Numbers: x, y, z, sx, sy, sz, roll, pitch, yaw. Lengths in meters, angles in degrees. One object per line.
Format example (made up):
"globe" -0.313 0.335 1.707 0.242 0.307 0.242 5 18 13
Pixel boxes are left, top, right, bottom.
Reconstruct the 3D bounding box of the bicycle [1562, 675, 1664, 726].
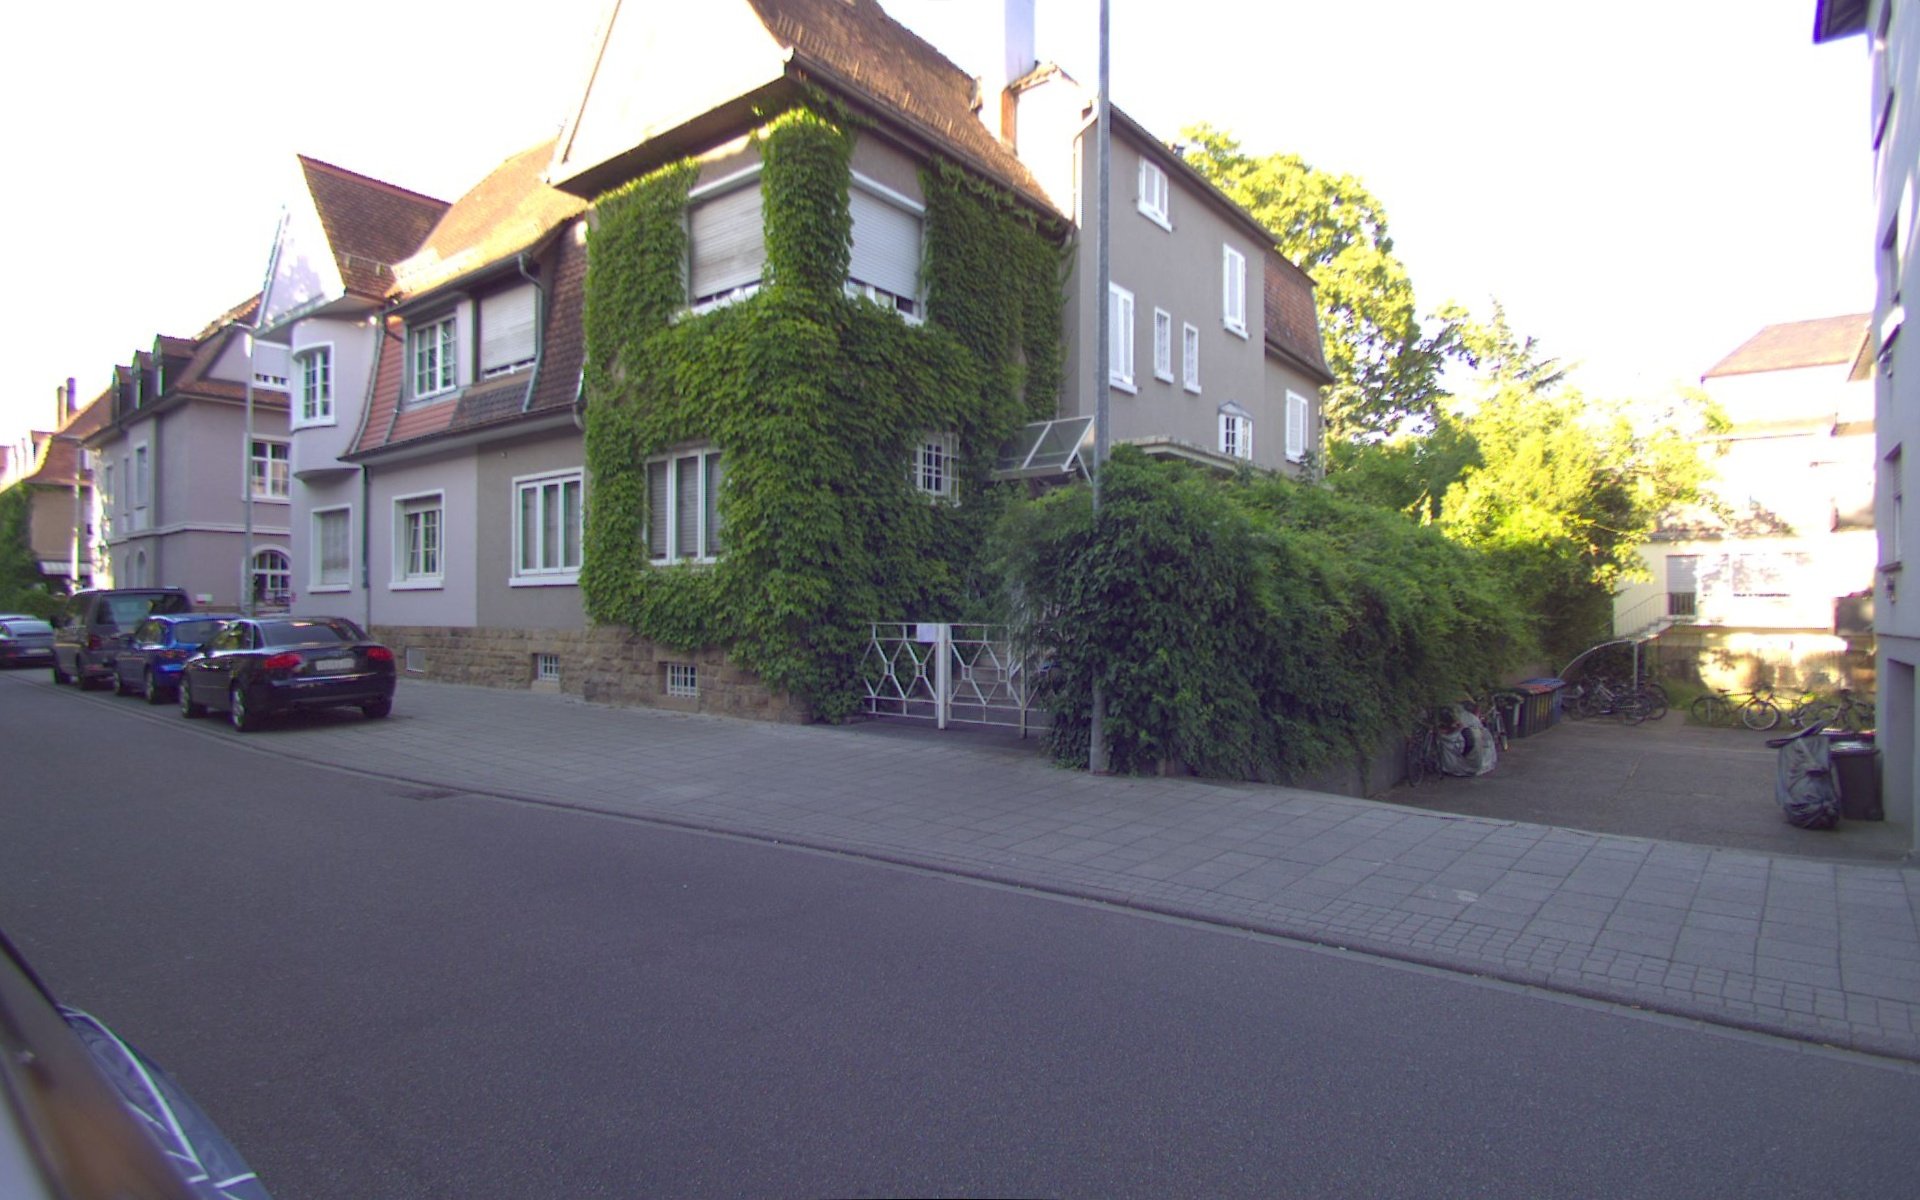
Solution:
"bicycle" 16.281 2.496 25.254 2.068 1.028 0.634 1 3 41

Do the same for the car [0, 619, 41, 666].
"car" -30.471 1.320 32.024 3.942 1.381 1.522 -1 1 40

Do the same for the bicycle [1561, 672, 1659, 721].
"bicycle" 16.845 2.487 26.266 2.068 1.028 0.565 1 3 41

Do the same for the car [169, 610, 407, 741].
"car" -9.302 0.911 13.885 4.023 1.439 1.729 0 2 42

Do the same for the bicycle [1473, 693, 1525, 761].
"bicycle" 9.964 2.313 18.668 0.514 1.027 1.914 1 0 38

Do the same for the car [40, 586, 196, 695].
"car" -17.508 0.761 20.970 4.308 1.987 1.698 0 2 40

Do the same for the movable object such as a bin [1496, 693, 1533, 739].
"movable object such as a bin" 11.550 2.413 21.090 0.576 0.886 0.488 0 -3 41

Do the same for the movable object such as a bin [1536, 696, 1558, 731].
"movable object such as a bin" 13.543 2.608 23.351 0.367 0.764 0.359 -1 -4 41

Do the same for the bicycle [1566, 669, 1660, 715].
"bicycle" 17.706 2.474 27.469 2.068 1.028 0.608 1 3 41

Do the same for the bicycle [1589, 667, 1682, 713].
"bicycle" 18.623 2.462 27.935 2.068 1.028 0.608 1 3 41

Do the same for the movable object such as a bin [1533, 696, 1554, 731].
"movable object such as a bin" 13.291 2.589 23.054 0.367 0.764 0.359 -1 -4 41

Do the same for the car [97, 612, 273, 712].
"car" -13.722 0.995 17.839 4.021 1.475 1.591 0 2 40

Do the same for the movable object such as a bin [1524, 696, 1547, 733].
"movable object such as a bin" 12.775 2.528 22.457 0.381 0.779 0.359 -1 -4 41

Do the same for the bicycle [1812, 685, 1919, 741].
"bicycle" 20.538 2.539 22.772 2.068 1.028 0.634 1 3 41

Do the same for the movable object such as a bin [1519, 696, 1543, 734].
"movable object such as a bin" 12.508 2.509 22.156 0.398 0.779 0.359 -1 -4 41

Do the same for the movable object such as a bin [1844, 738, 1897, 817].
"movable object such as a bin" 11.769 2.280 13.094 0.432 0.894 0.717 -1 -3 37

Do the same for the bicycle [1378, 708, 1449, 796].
"bicycle" 6.805 2.235 15.132 0.514 1.027 1.914 1 0 38

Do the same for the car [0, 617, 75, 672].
"car" -26.360 1.215 28.353 4.331 1.381 1.698 -1 1 40

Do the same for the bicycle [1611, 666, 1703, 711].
"bicycle" 19.425 2.451 28.239 2.068 1.028 0.561 1 3 41

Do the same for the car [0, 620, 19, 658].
"car" -36.530 1.457 37.676 3.942 1.381 1.698 -1 1 40

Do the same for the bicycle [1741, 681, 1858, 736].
"bicycle" 19.569 2.518 23.633 2.068 1.028 0.634 1 3 41

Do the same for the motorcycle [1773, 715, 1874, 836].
"motorcycle" 10.724 2.134 12.624 0.757 1.261 1.575 -1 -3 34

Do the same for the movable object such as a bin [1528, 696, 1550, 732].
"movable object such as a bin" 13.029 2.564 22.761 0.375 0.764 0.359 -1 -4 41

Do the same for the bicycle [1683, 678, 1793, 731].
"bicycle" 18.718 2.502 24.384 2.068 1.028 0.634 1 3 41

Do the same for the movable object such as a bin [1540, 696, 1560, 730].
"movable object such as a bin" 13.789 2.628 23.652 0.346 0.764 0.359 -1 -4 41
